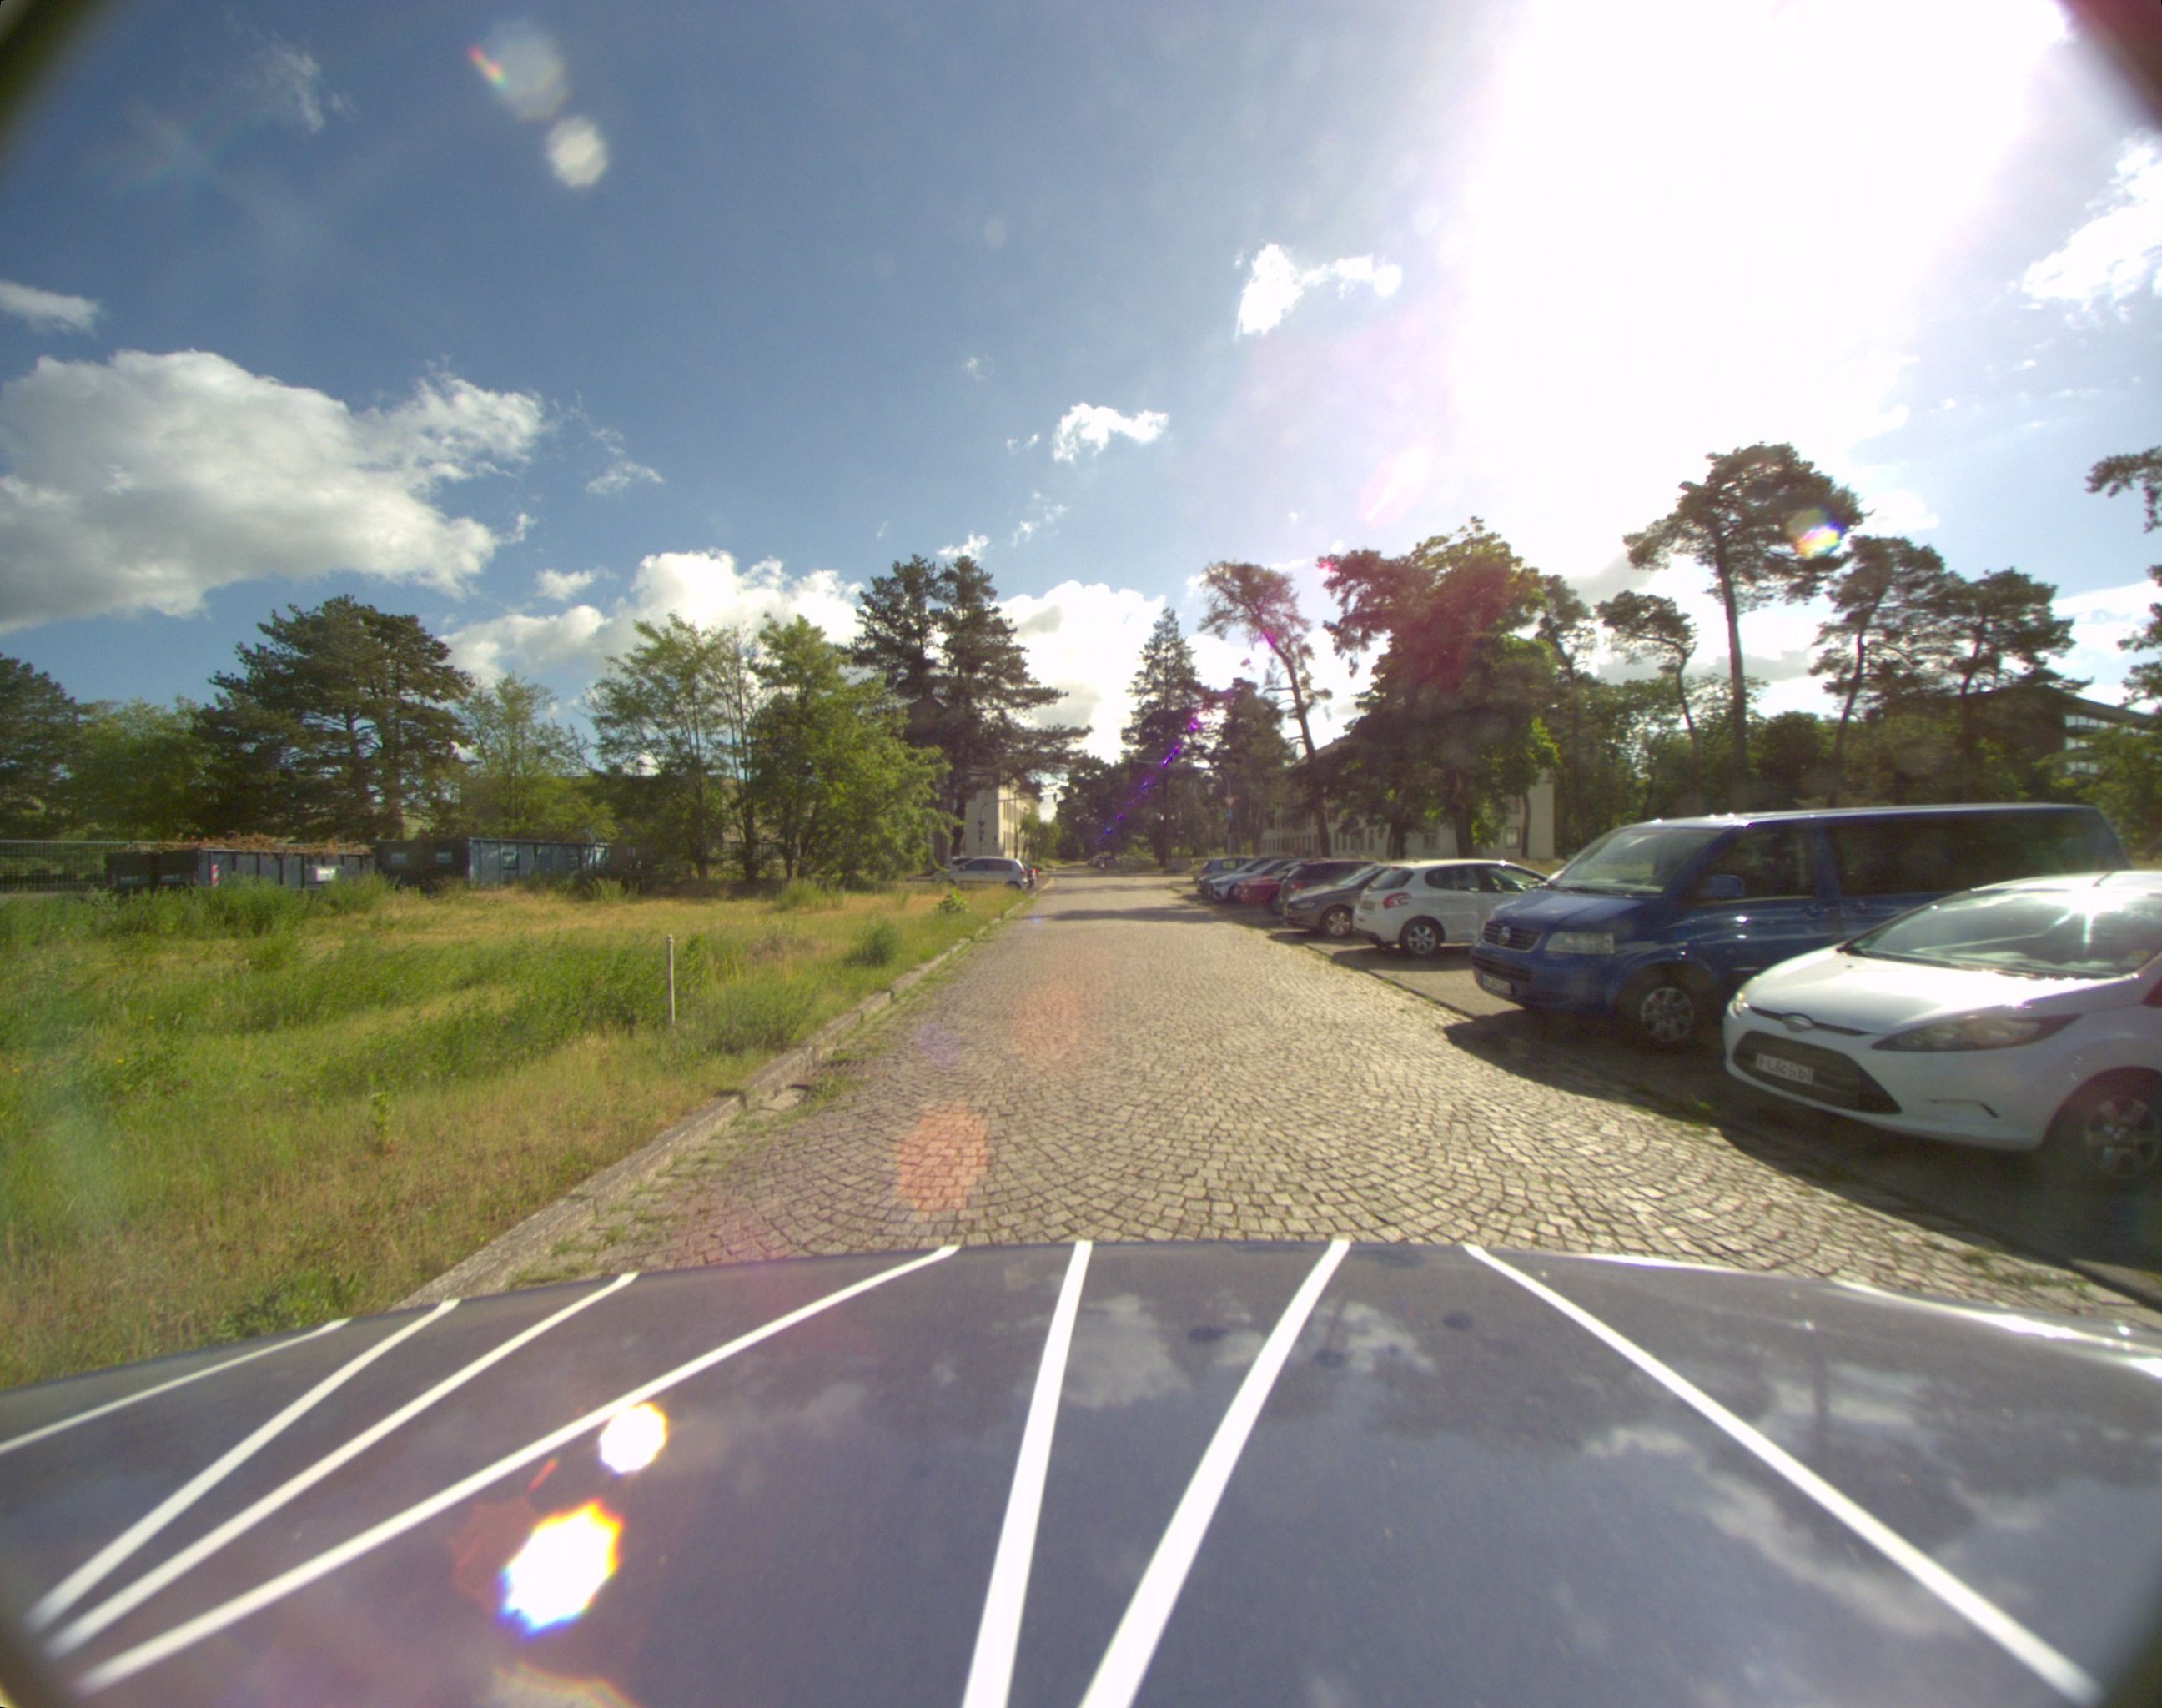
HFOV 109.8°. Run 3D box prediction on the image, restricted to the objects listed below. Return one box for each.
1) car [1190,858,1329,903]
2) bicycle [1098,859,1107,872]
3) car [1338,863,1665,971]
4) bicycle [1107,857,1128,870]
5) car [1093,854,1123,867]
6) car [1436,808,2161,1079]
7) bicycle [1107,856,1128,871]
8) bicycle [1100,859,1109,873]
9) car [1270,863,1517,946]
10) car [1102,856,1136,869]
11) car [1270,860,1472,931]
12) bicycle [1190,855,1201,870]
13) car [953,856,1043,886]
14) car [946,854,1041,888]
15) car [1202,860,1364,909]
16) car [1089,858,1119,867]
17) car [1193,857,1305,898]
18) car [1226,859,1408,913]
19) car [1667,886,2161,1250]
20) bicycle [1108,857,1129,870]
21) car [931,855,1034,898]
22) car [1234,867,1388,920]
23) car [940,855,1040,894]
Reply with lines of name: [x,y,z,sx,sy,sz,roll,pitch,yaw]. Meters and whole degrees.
car: [6.503,0.929,28.002,4.593,1.443,1.984,-2,1,-3]
bicycle: [2.207,1.187,78.300,0.621,1.276,2.114,-2,0,-4]
car: [6.539,0.944,12.187,4.206,1.466,1.824,-2,0,1]
bicycle: [3.960,1.020,82.525,2.114,1.276,0.621,-2,1,-5]
car: [3.936,0.929,111.658,4.227,1.903,1.816,0,1,-9]
car: [6.067,0.695,6.884,4.729,1.956,2.005,-2,1,1]
bicycle: [3.814,0.987,79.447,2.114,1.276,0.621,-6,1,-2]
bicycle: [2.339,1.149,76.123,0.621,1.342,2.114,-2,0,-4]
car: [6.039,0.955,15.077,4.086,1.417,1.923,-2,0,2]
car: [4.684,1.069,94.295,4.044,1.514,1.817,0,0,-7]
car: [6.726,0.944,17.953,4.086,1.444,1.821,-2,1,2]
bicycle: [10.057,0.746,66.812,0.621,1.276,2.115,-3,0,-1]
car: [-4.387,0.898,40.656,4.548,1.413,1.894,2,1,0]
car: [-4.305,0.826,37.840,4.525,1.456,1.838,2,1,-2]
car: [6.605,0.988,25.282,4.876,1.413,1.938,-2,1,1]
car: [3.507,1.221,114.817,4.227,1.294,1.816,0,0,-9]
car: [6.701,0.919,30.620,4.037,1.474,1.949,-2,0,-1]
car: [7.005,0.933,22.931,4.876,1.412,1.938,-2,0,1]
car: [5.863,0.987,4.298,3.826,1.431,1.682,-2,1,-2]
bicycle: [4.067,1.011,81.696,2.114,1.276,0.621,-2,1,-6]
car: [-3.812,0.851,29.857,3.750,1.468,1.751,2,0,-1]
car: [6.154,1.038,20.632,3.639,1.227,1.760,-2,1,2]
car: [-3.855,0.863,32.603,4.015,1.432,1.844,2,0,-1]
